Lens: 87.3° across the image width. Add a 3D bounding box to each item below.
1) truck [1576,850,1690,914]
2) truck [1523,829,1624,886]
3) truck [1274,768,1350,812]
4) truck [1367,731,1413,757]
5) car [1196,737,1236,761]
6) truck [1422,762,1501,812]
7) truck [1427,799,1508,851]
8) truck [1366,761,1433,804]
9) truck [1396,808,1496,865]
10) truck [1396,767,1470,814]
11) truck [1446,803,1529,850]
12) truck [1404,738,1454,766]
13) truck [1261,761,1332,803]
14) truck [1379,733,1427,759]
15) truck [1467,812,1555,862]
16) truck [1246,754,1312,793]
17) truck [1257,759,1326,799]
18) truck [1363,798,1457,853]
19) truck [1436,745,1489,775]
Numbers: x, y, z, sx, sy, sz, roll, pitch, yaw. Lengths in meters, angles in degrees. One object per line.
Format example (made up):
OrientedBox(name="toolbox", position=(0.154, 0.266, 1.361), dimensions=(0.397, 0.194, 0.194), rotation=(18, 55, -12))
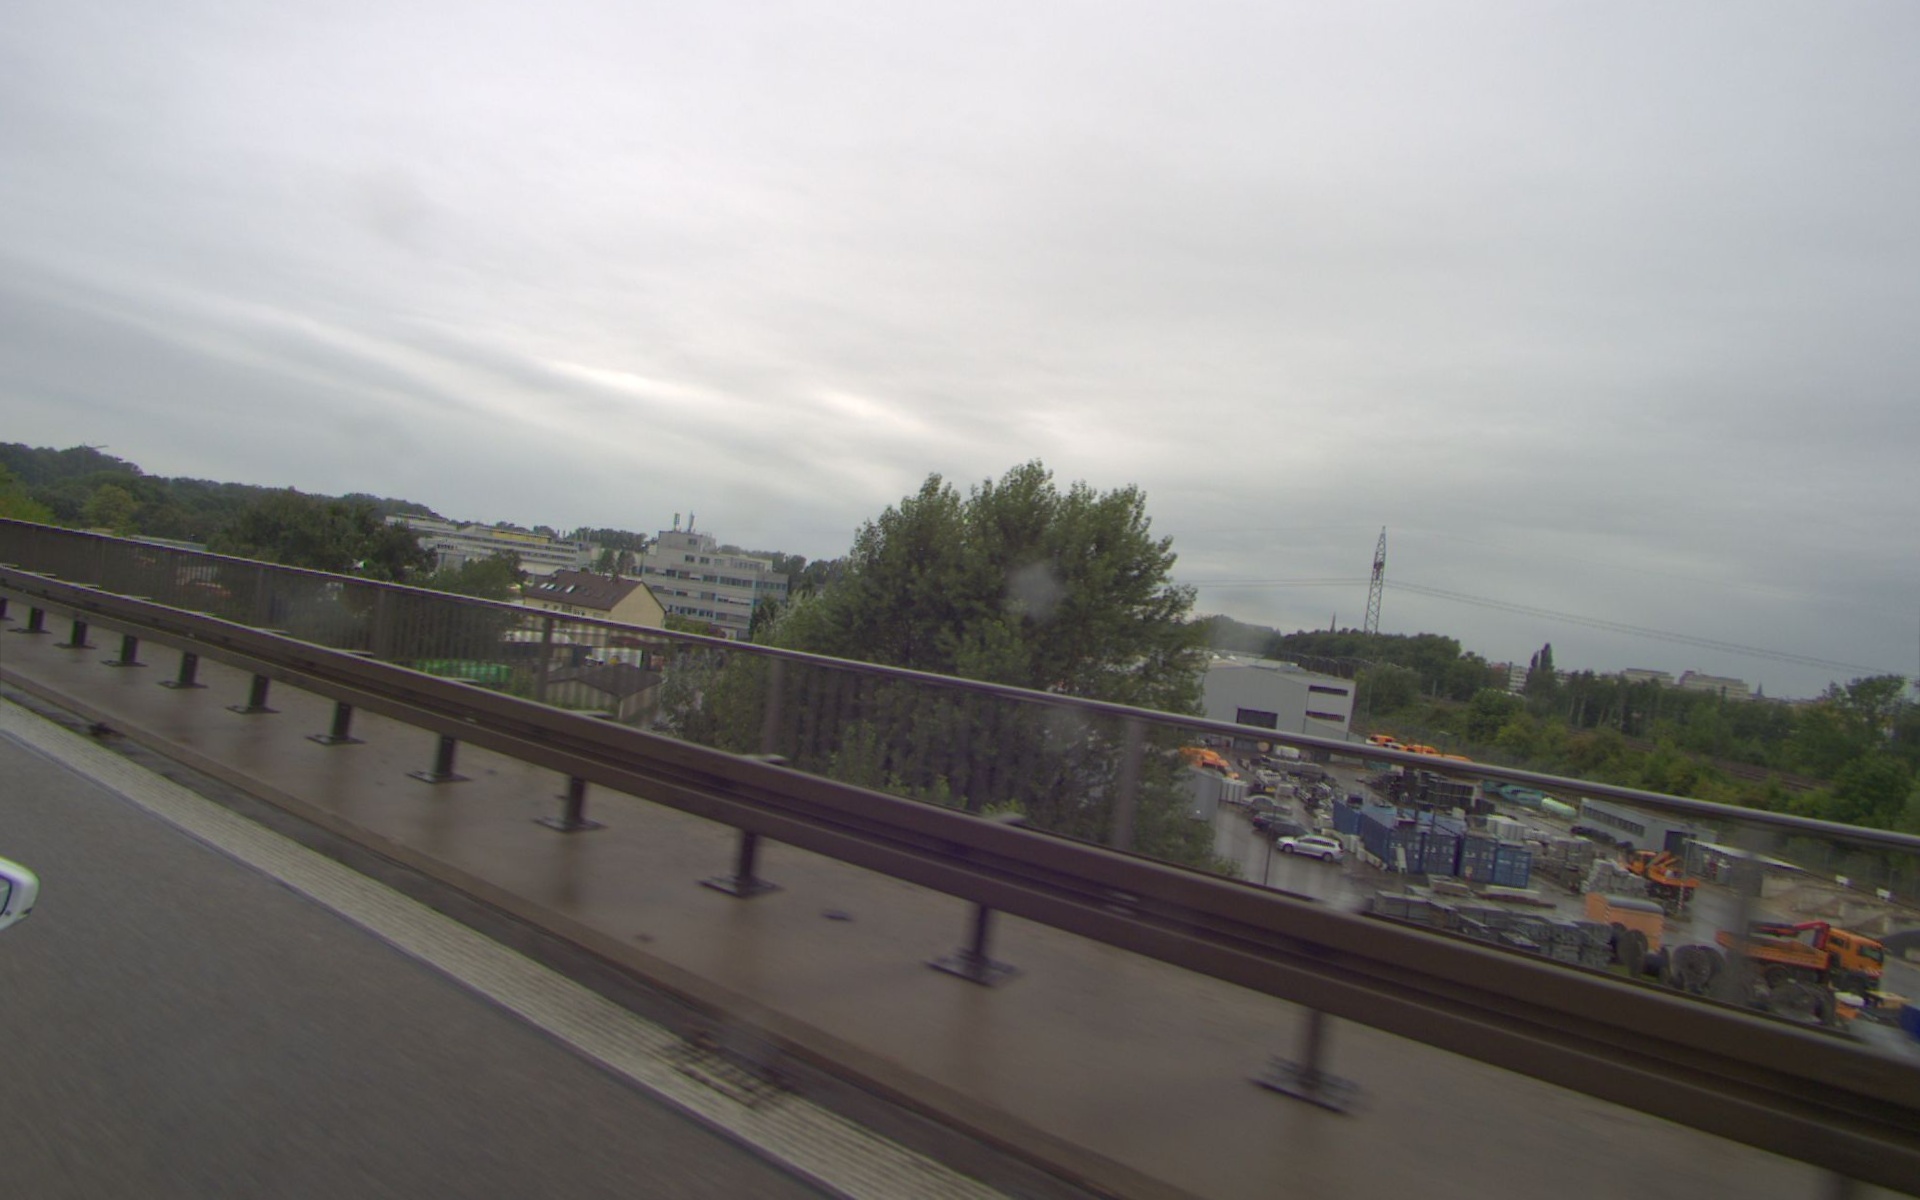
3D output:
OrientedBox(name="truck", position=(48.324, 20.239, 72.318), dimensions=(6.468, 3.221, 2.106), rotation=(8, -1, -1))
OrientedBox(name="truck", position=(48.676, 20.456, 79.894), dimensions=(6.468, 3.221, 2.106), rotation=(8, -1, -1))
OrientedBox(name="truck", position=(34.800, 18.802, 99.551), dimensions=(6.468, 3.221, 2.106), rotation=(8, -1, -1))
OrientedBox(name="truck", position=(68.182, 22.811, 159.658), dimensions=(6.485, 3.221, 2.100), rotation=(8, -1, -14))
OrientedBox(name="car", position=(30.319, 17.626, 119.169), dimensions=(3.928, 2.037, 2.001), rotation=(8, -2, -2))
OrientedBox(name="truck", position=(49.974, 18.616, 100.388), dimensions=(6.468, 3.854, 2.105), rotation=(8, -1, -1))
OrientedBox(name="truck", position=(49.295, 21.872, 97.789), dimensions=(6.468, 3.854, 2.105), rotation=(8, -1, -1))
OrientedBox(name="truck", position=(50.989, 21.158, 116.885), dimensions=(6.468, 3.854, 2.105), rotation=(8, -1, -1))
OrientedBox(name="truck", position=(37.504, 18.244, 77.727), dimensions=(6.468, 3.221, 2.106), rotation=(8, -1, -1))
OrientedBox(name="truck", position=(49.869, 20.102, 106.184), dimensions=(6.468, 3.854, 2.105), rotation=(8, -1, -1))
OrientedBox(name="truck", position=(49.707, 21.314, 94.848), dimensions=(6.468, 3.221, 2.106), rotation=(8, -1, -1))
OrientedBox(name="truck", position=(68.663, 22.289, 147.347), dimensions=(6.485, 3.221, 2.100), rotation=(8, -1, -14))
OrientedBox(name="truck", position=(35.329, 19.124, 105.827), dimensions=(6.468, 3.221, 2.106), rotation=(8, -1, -1))
OrientedBox(name="truck", position=(68.829, 22.669, 156.302), dimensions=(6.485, 3.221, 2.100), rotation=(8, -1, -14))
OrientedBox(name="truck", position=(49.533, 21.286, 90.581), dimensions=(6.468, 3.221, 2.106), rotation=(8, -1, -1))
OrientedBox(name="truck", position=(35.761, 19.407, 112.856), dimensions=(6.468, 3.221, 2.106), rotation=(8, -1, -1))
OrientedBox(name="truck", position=(35.770, 19.297, 108.666), dimensions=(6.468, 3.221, 2.106), rotation=(8, -1, -1))
OrientedBox(name="truck", position=(36.682, 18.372, 82.091), dimensions=(6.468, 3.221, 2.106), rotation=(8, -1, -1))
OrientedBox(name="truck", position=(68.799, 21.916, 137.710), dimensions=(6.485, 3.221, 2.100), rotation=(8, -1, -14))
